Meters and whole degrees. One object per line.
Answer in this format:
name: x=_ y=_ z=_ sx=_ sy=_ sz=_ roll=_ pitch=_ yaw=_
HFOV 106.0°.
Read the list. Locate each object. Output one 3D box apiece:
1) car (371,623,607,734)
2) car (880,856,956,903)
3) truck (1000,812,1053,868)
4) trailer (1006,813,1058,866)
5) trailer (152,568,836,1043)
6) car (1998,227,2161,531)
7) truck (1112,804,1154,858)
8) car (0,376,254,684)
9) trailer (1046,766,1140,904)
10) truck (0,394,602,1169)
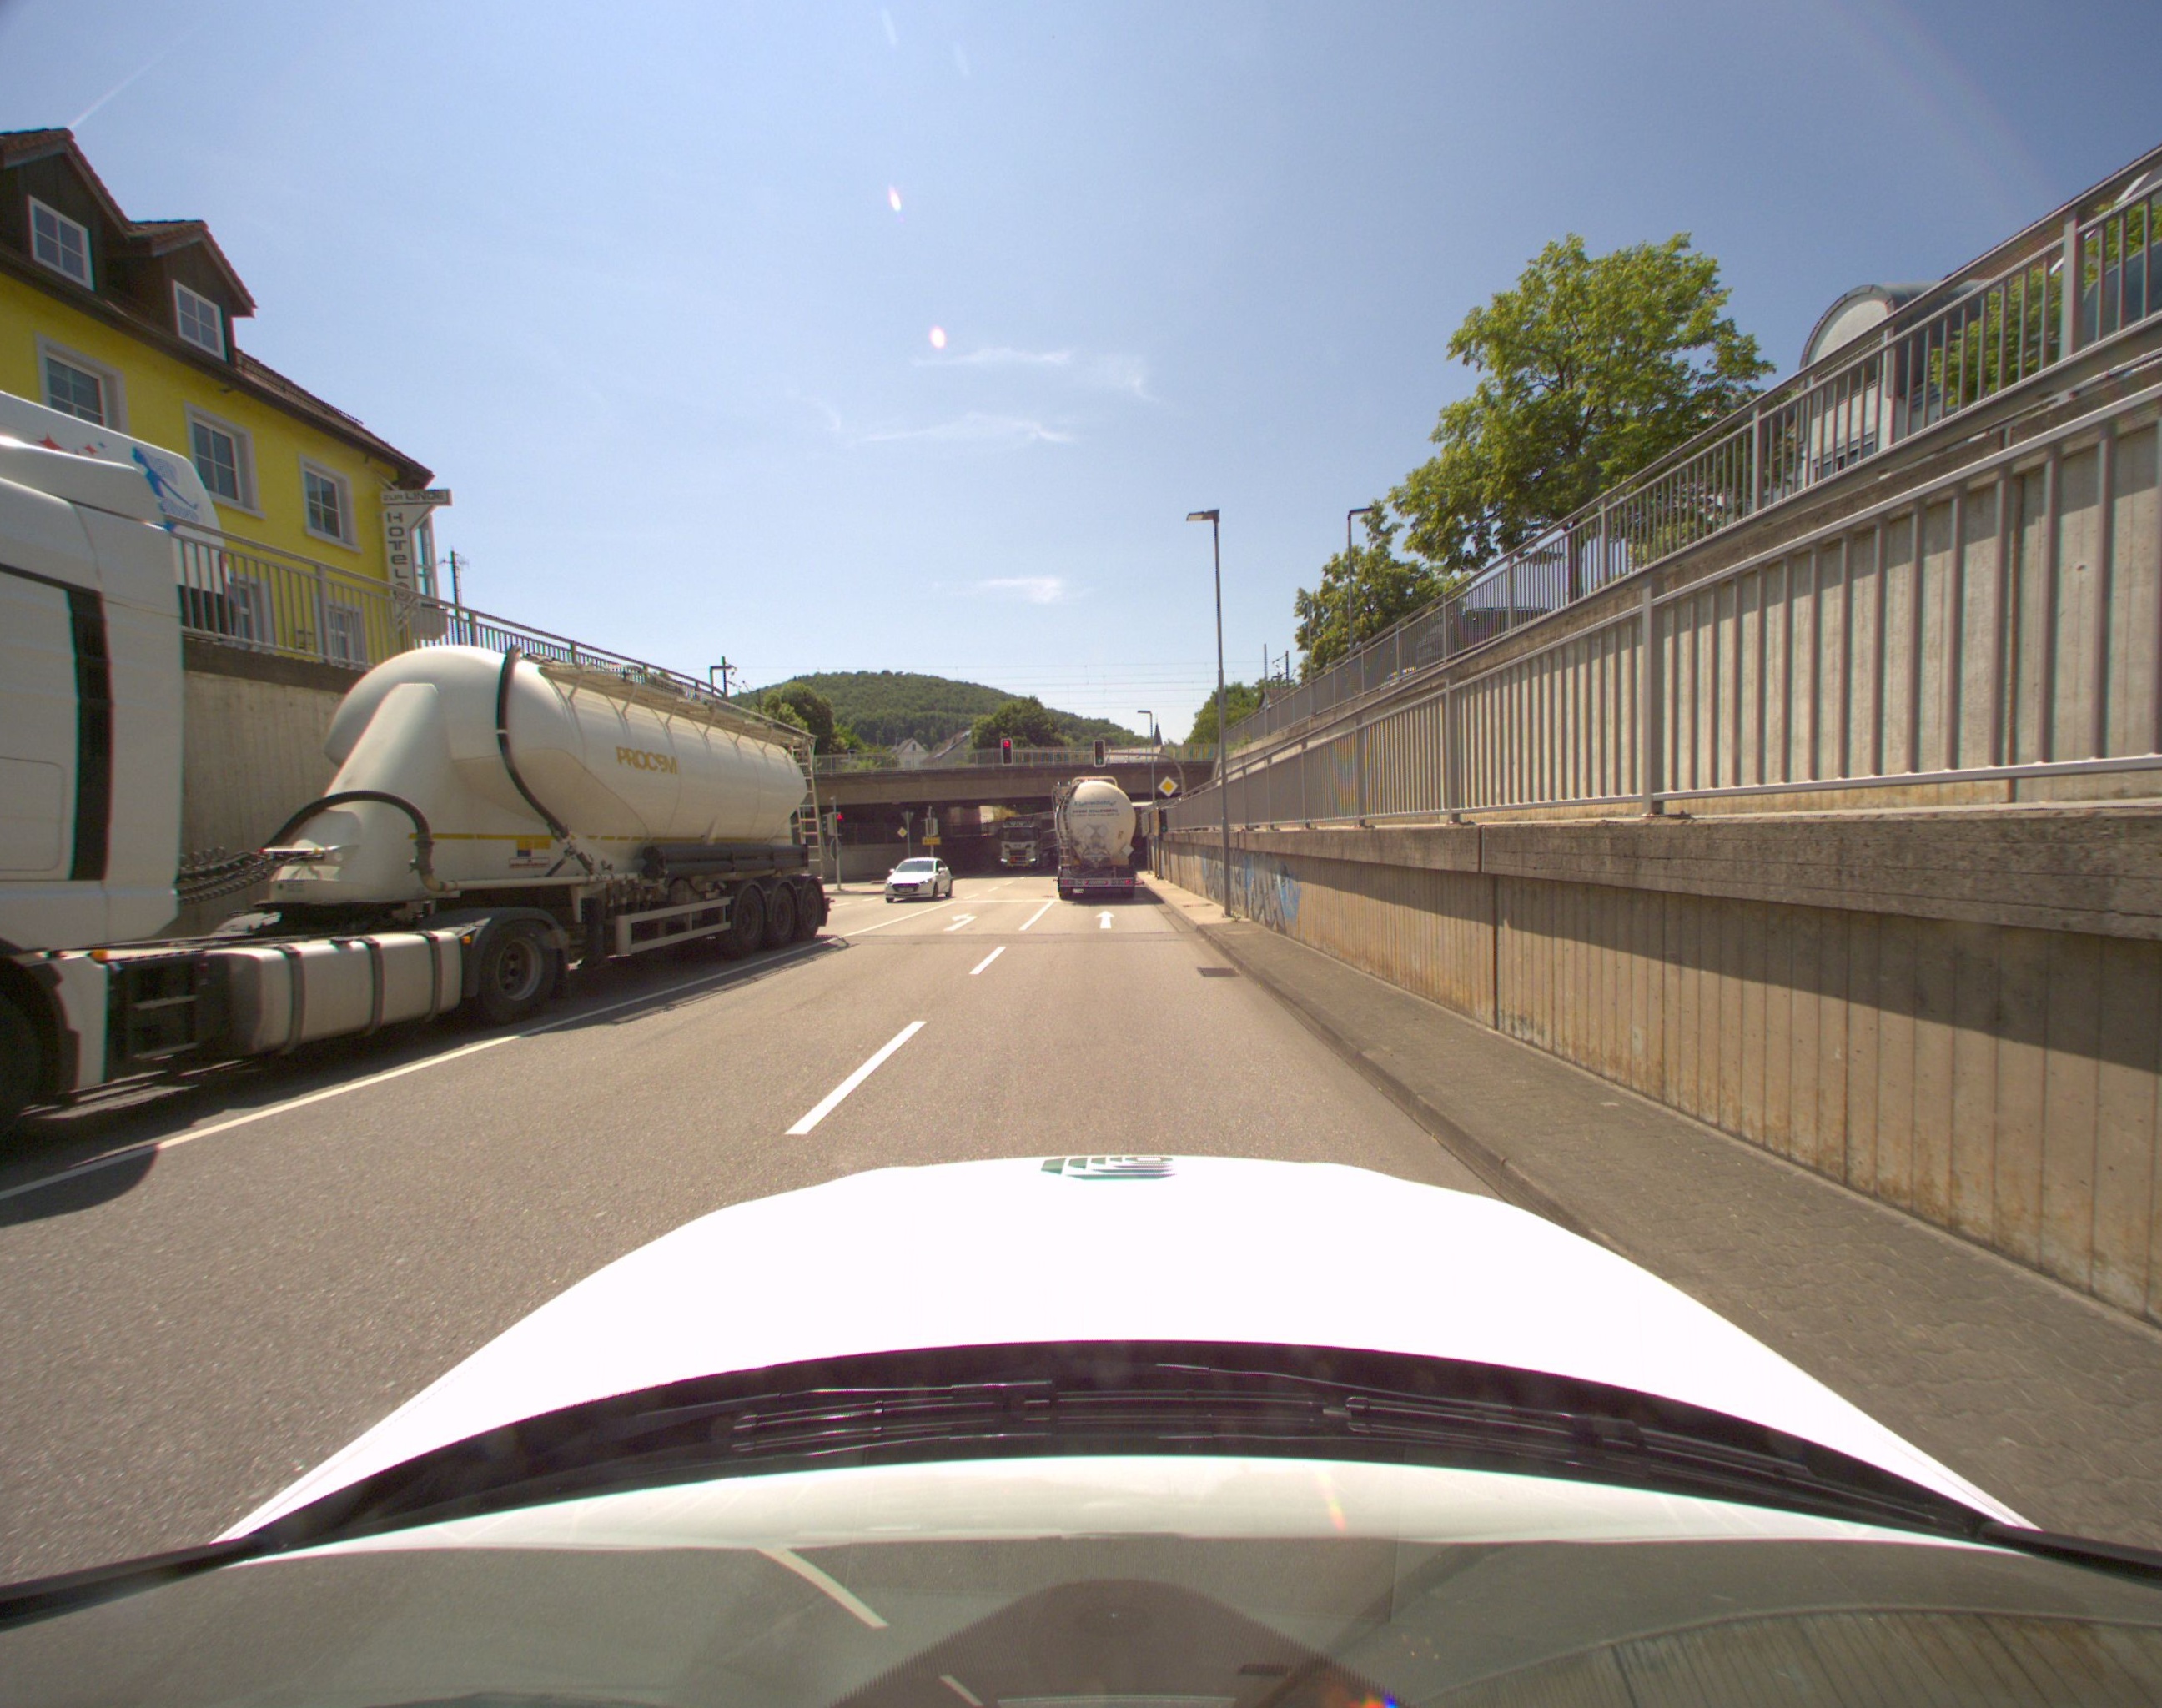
car: x=-11.251 y=-3.286 z=15.893 sx=1.614 sy=1.500 sz=4.044 roll=0 pitch=3 yaw=-1
car: x=-5.672 y=0.843 z=28.784 sx=1.675 sy=1.440 sz=4.096 roll=-2 pitch=0 yaw=2
truck: x=-3.761 y=-0.946 z=57.510 sx=2.677 sy=3.663 sz=7.378 roll=0 pitch=0 yaw=4
trailer: x=-3.517 y=-1.012 z=61.204 sx=2.678 sy=3.663 sz=9.899 roll=0 pitch=0 yaw=4
trailer: x=-6.383 y=-0.398 z=11.553 sx=2.600 sy=3.964 sz=9.351 roll=-1 pitch=0 yaw=2
car: x=10.153 y=-3.879 z=6.409 sx=3.890 sy=1.884 sz=1.688 roll=-2 pitch=3 yaw=2
truck: x=5.274 y=-2.322 z=81.095 sx=3.062 sy=4.999 sz=10.112 roll=0 pitch=2 yaw=10
car: x=-11.270 y=-3.217 z=7.147 sx=2.058 sy=2.535 sz=5.663 roll=0 pitch=3 yaw=1
trailer: x=0.718 y=-0.577 z=30.958 sx=2.723 sy=4.064 sz=13.324 roll=-1 pitch=0 yaw=3
truck: x=-6.646 y=-0.345 z=5.526 sx=2.651 sy=3.860 sz=6.583 roll=-1 pitch=0 yaw=2
